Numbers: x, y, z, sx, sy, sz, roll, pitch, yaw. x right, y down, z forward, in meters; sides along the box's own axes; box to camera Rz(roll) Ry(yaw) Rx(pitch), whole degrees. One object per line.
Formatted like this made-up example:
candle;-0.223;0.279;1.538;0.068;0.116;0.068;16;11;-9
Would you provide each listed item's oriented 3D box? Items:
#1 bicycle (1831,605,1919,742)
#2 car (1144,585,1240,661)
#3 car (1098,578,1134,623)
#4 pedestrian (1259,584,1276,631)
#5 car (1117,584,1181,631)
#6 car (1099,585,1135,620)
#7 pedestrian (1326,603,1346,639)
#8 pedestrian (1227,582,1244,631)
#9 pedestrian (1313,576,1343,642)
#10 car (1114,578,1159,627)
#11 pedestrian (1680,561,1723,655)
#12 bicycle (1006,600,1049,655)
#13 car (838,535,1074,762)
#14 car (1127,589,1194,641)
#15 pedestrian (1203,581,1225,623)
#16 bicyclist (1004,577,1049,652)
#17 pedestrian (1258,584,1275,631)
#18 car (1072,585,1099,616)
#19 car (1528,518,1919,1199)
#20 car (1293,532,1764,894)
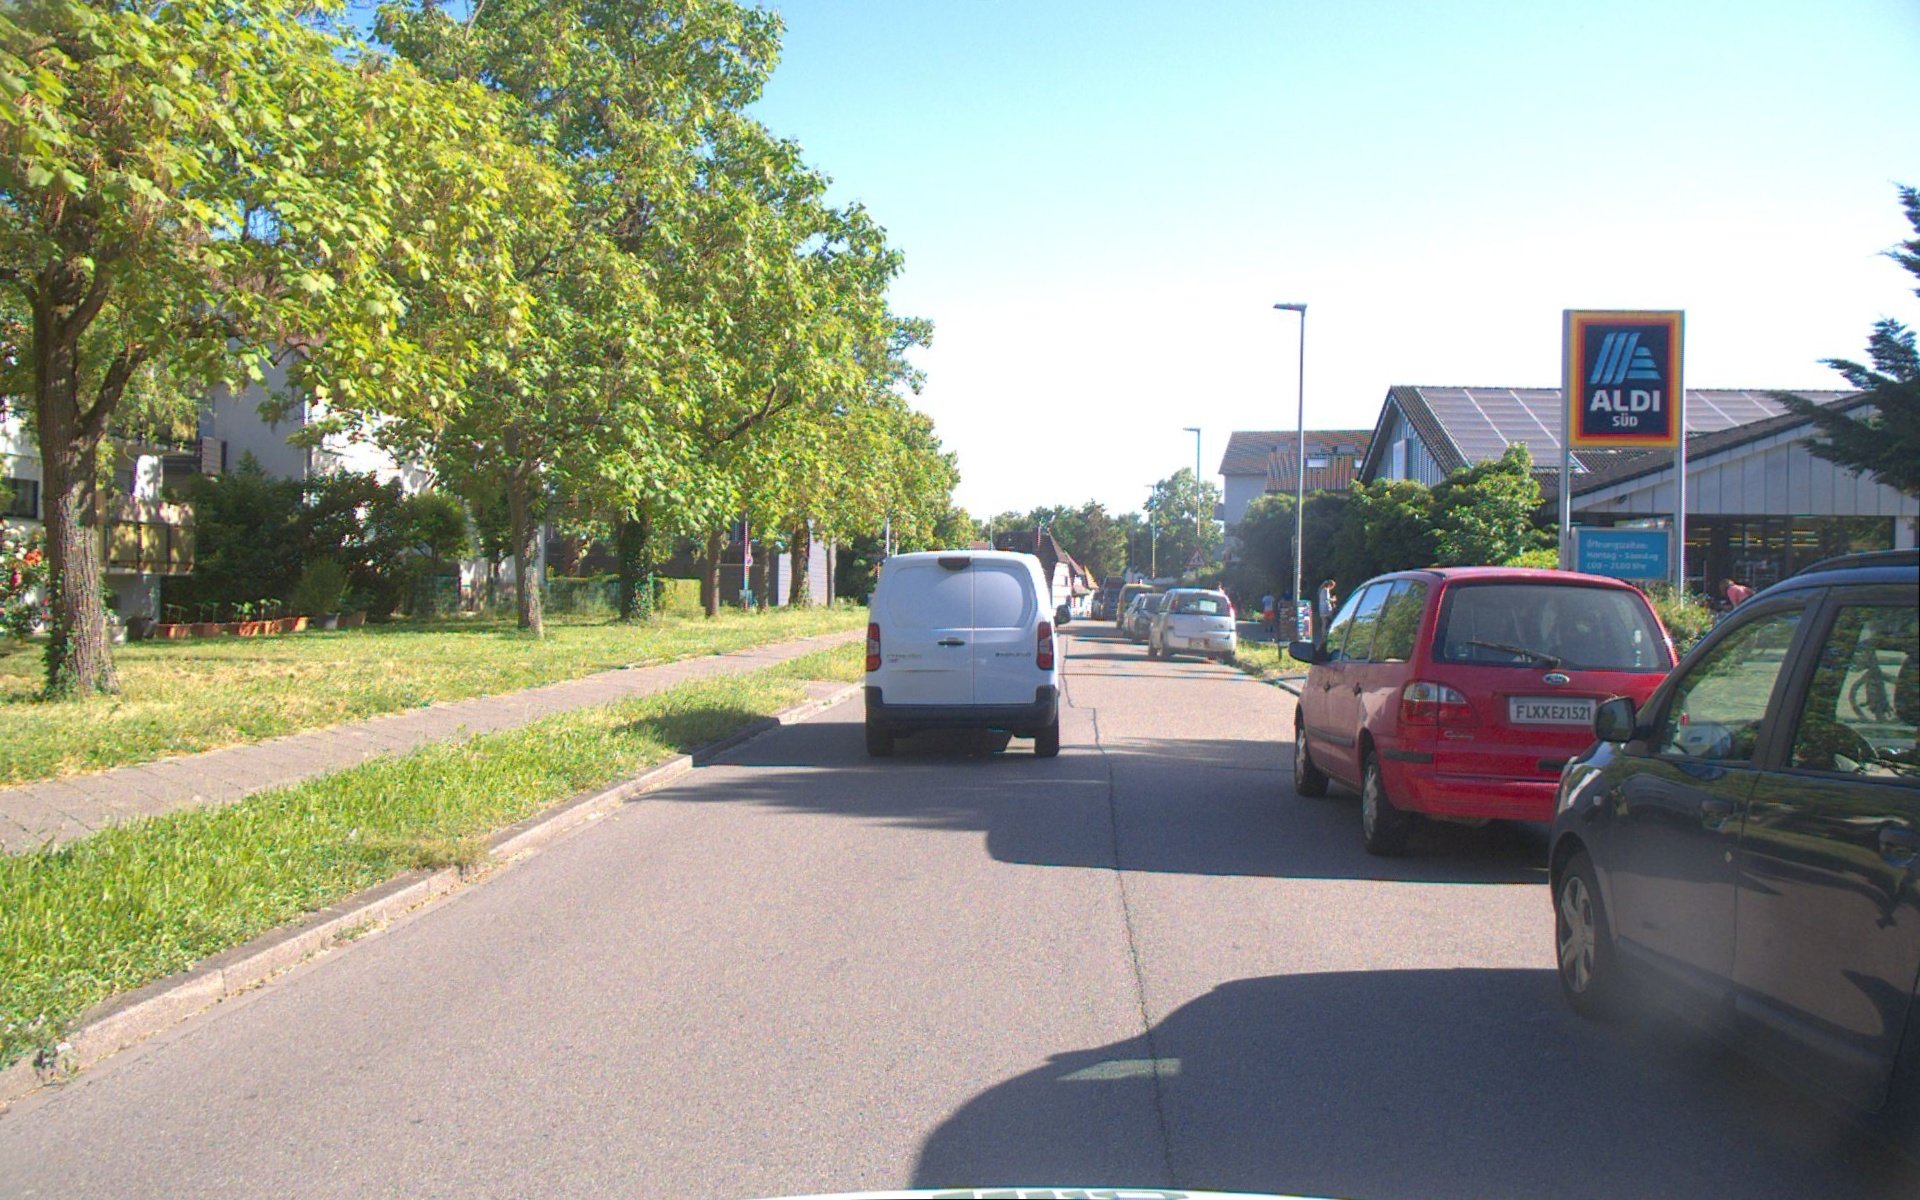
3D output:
bicycle;8.965;0.679;15.953;0.705;1.242;1.896;-1;-1;19
car;5.293;0.508;38.096;1.645;1.627;4.028;1;0;0
car;9.514;0.064;100.890;1.828;2.607;4.769;3;-1;2
pedestrian;11.036;0.261;59.393;0.555;1.665;0.547;1;0;9
car;6.287;0.230;55.361;1.788;1.477;4.001;1;0;2
car;8.857;0.154;93.468;1.767;1.816;4.001;3;-1;2
pedestrian;10.757;0.601;47.315;0.520;0.997;0.811;1;0;11
pedestrian;9.448;0.218;56.776;0.555;1.665;0.547;1;0;9
pedestrian;10.346;0.243;46.516;0.781;1.813;0.809;1;0;12
car;7.113;0.108;66.867;1.688;1.869;4.002;1;0;5
pedestrian;13.364;0.138;29.807;0.677;1.660;0.776;1;0;25
bicycle;1.472;0.595;36.431;0.771;1.158;2.279;0;0;-2
car;0.110;0.391;16.220;1.951;1.914;4.291;1;0;5
car;5.960;0.417;49.522;1.769;1.468;4.365;1;0;4
pedestrian;11.513;0.075;74.939;0.778;1.894;0.874;1;0;-4
bicyclist;1.461;0.322;36.433;0.887;1.612;0.966;1;-1;-3
pedestrian;10.998;0.266;59.359;0.555;1.665;0.547;1;0;9
car;9.096;0.057;119.969;1.767;2.105;4.001;3;-1;2
car;3.056;0.660;4.574;1.688;1.685;4.355;1;0;3
car;3.380;0.556;10.820;1.801;1.837;4.656;1;0;5
